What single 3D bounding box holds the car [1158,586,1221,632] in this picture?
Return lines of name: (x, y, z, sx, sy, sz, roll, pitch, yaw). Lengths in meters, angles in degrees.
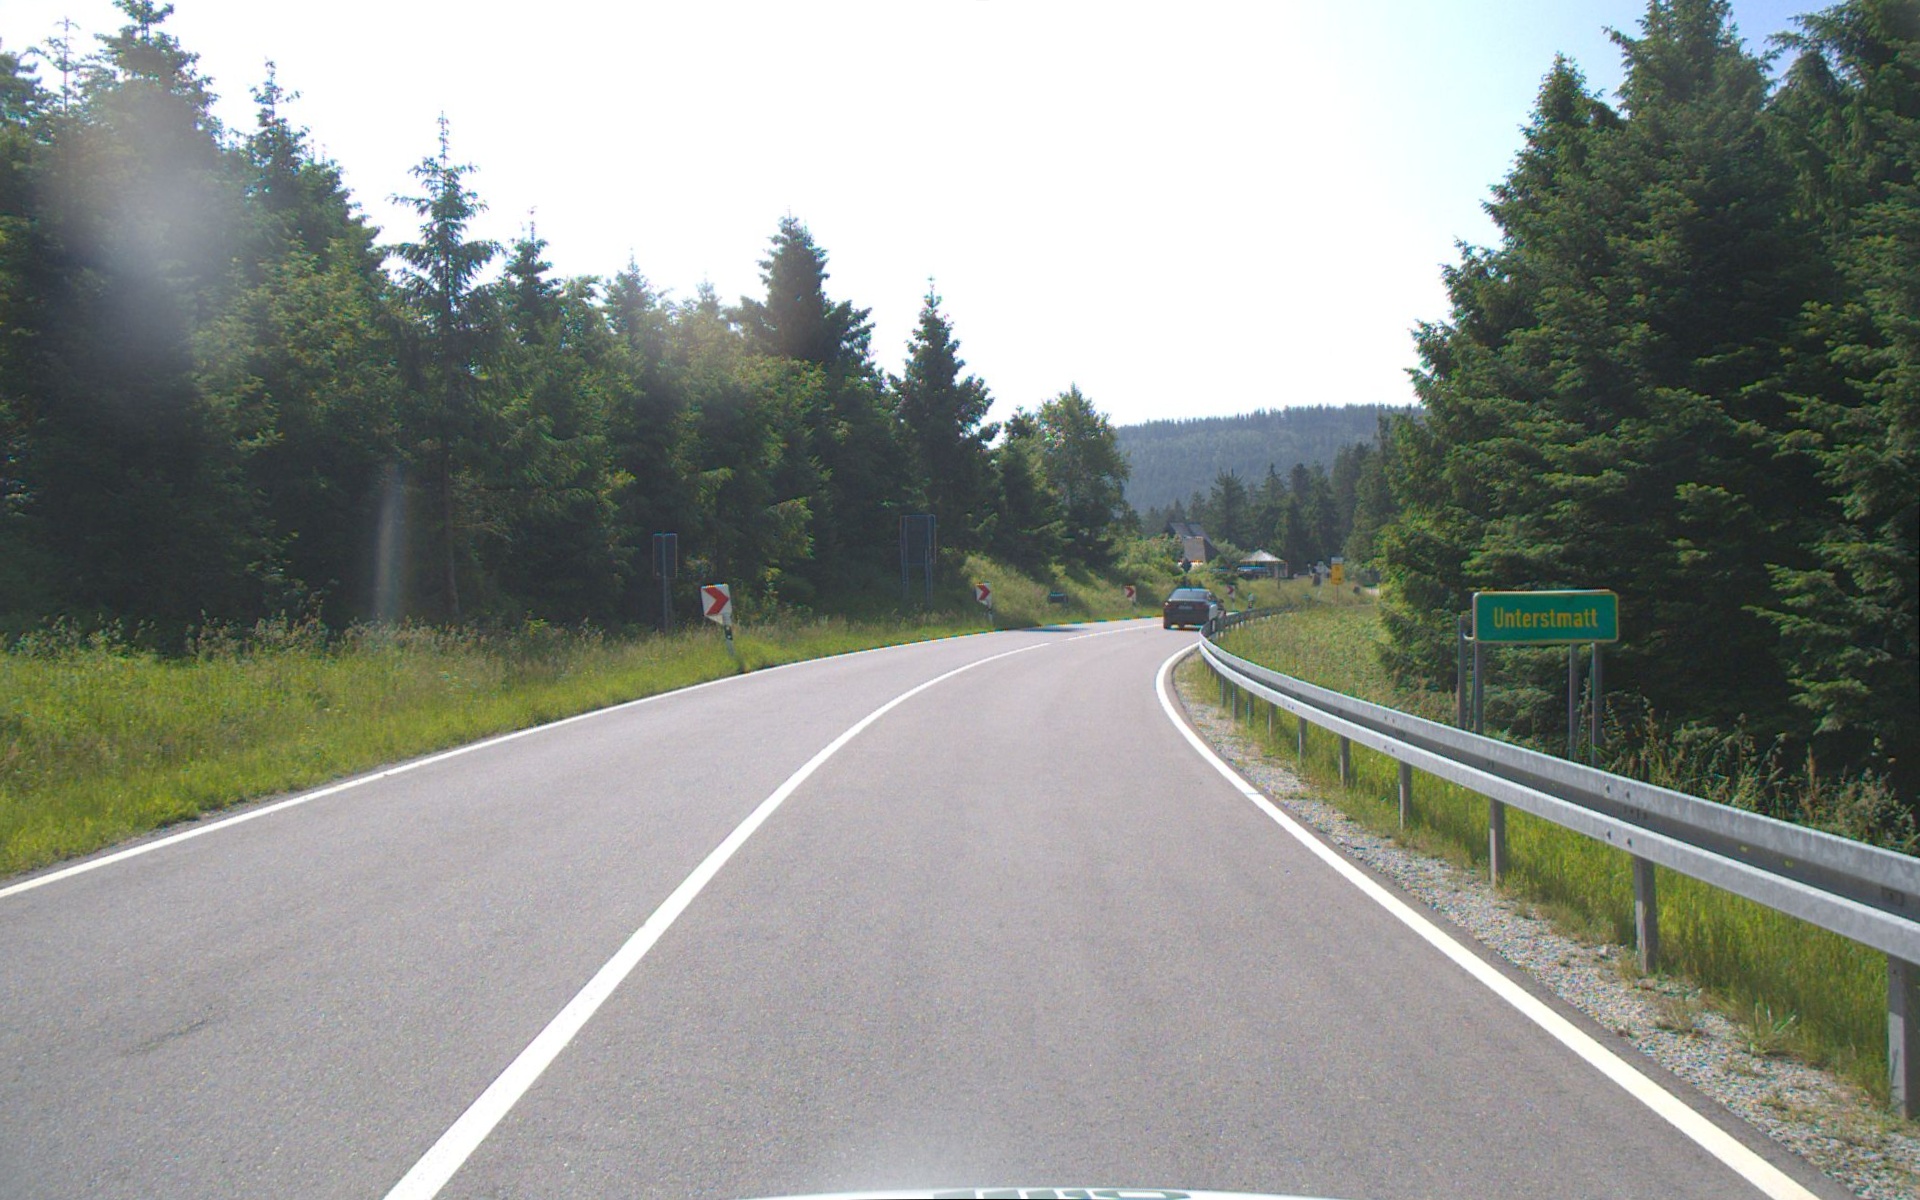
car: (8.220, 0.303, 58.986, 1.738, 1.467, 3.712, 3, 2, 14)
